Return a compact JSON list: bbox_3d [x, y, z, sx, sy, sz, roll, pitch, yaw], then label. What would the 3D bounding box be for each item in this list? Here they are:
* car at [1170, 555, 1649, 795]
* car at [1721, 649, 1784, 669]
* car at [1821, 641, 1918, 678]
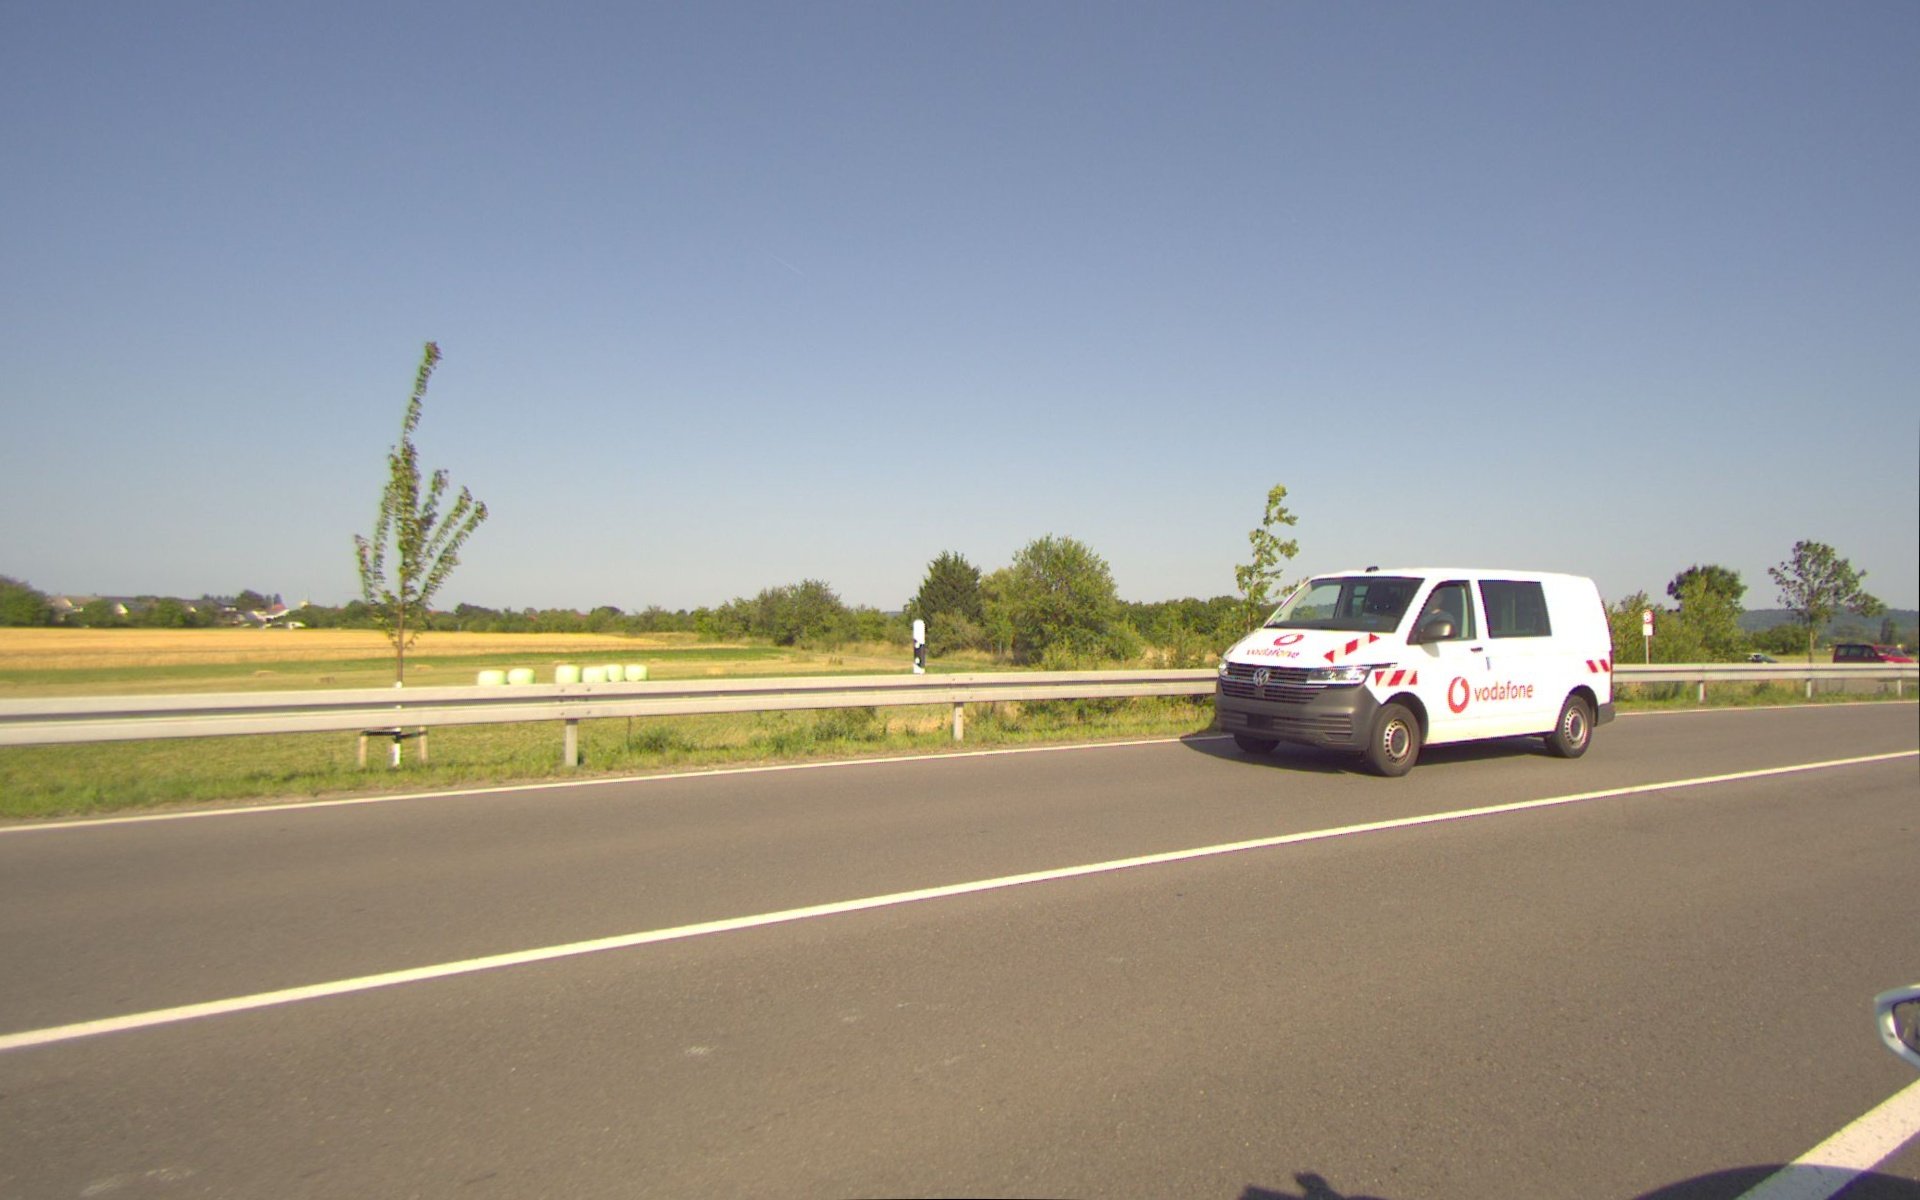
[{"bbox_3d":[4.874,0.583,10.708,5.092,2.041,2.104,-1,2,-30],"label":"car"},{"bbox_3d":[61.914,4.614,78.540,1.696,1.476,3.736,1,-2,-7],"label":"car"},{"bbox_3d":[57.815,3.738,64.004,1.802,1.966,4.927,2,0,3],"label":"car"}]
